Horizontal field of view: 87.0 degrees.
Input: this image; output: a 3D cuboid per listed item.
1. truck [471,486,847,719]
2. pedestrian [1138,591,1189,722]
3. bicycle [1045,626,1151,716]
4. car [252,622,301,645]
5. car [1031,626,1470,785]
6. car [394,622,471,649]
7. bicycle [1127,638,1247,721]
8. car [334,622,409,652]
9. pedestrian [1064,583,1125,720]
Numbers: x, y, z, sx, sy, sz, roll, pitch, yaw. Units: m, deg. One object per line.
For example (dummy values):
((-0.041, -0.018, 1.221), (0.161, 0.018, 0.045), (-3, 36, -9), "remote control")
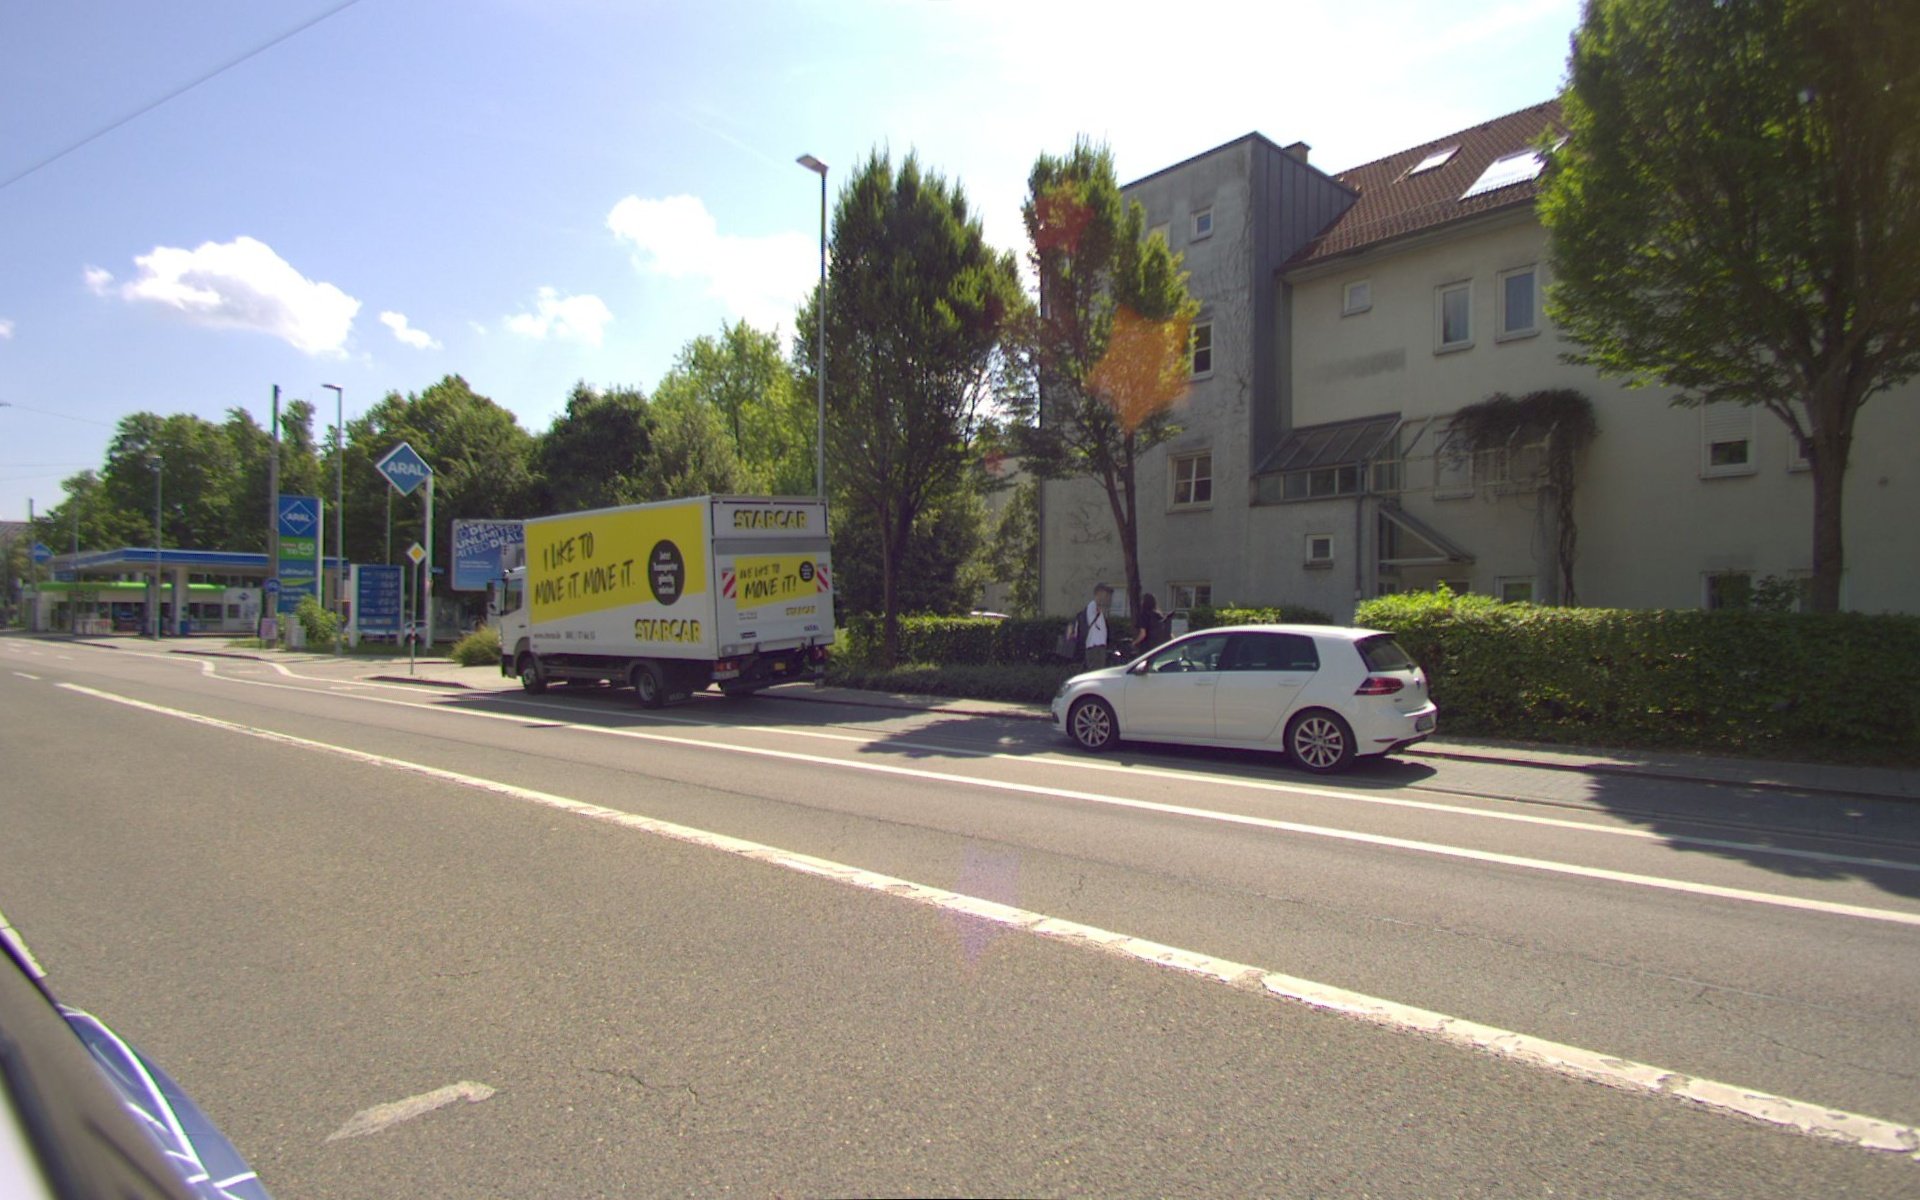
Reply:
((-6.005, 0.071, 19.237), (8.164, 3.575, 2.803), (-1, 0, 40), "truck")
((2.902, 0.786, 14.423), (0.697, 1.808, 0.681), (0, -2, 13), "pedestrian")
((2.113, 1.074, 15.674), (1.665, 1.326, 0.451), (-1, -2, 42), "bicycle")
((-50.093, 2.427, 74.161), (3.995, 1.683, 1.826), (-1, -2, 38), "car")
((3.034, 1.005, 11.187), (4.394, 1.421, 1.638), (-1, -2, 40), "car")
((-31.259, 2.114, 59.970), (3.932, 1.556, 1.825), (1, -2, -31), "car")
((3.271, 1.128, 14.688), (1.662, 1.134, 0.452), (-1, -2, 37), "bicycle")
((-27.594, 1.695, 47.436), (3.997, 1.347, 1.795), (-1, -2, 40), "car")
((1.953, 0.739, 14.787), (0.633, 1.937, 0.710), (1, -2, -19), "pedestrian")
